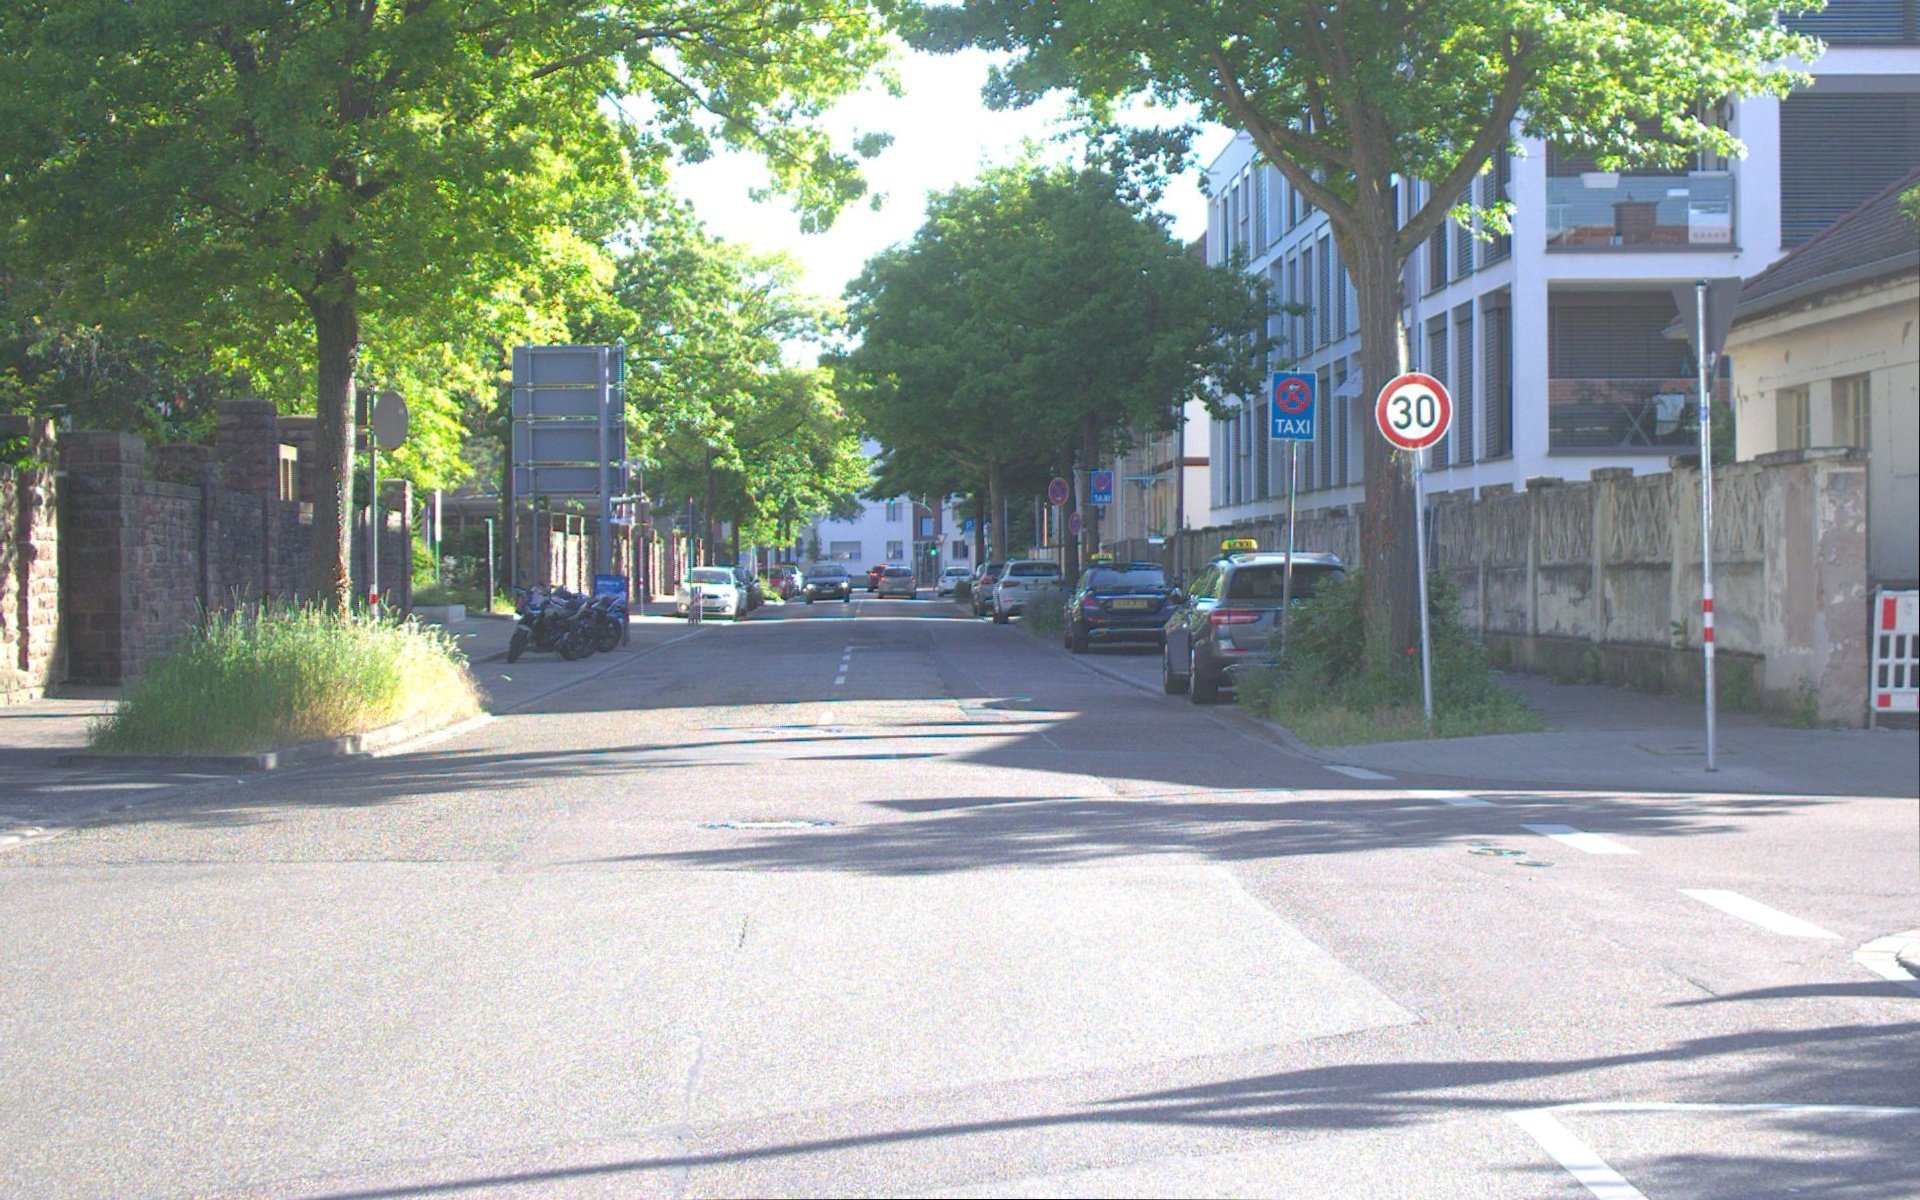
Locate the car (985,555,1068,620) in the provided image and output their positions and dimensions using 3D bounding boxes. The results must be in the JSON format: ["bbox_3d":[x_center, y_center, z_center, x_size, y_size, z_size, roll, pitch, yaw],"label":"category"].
[{"bbox_3d":[1.632,-0.336,85.163,1.950,1.573,3.836,0,1,0],"label":"car"}]

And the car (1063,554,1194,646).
[{"bbox_3d":[2.736,-0.026,56.513,1.767,1.435,4.000,-1,1,-3],"label":"car"}]

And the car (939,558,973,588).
[{"bbox_3d":[-0.199,-1.311,166.388,1.585,1.395,3.836,0,1,0],"label":"car"}]

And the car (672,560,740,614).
[{"bbox_3d":[-7.158,-0.376,97.171,1.767,1.482,4.000,-1,1,-3],"label":"car"}]

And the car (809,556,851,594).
[{"bbox_3d":[-5.309,-1.029,140.744,1.653,1.525,4.000,0,1,-1],"label":"car"}]

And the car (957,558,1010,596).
[{"bbox_3d":[0.900,-0.889,132.641,1.993,1.420,3.836,0,1,0],"label":"car"}]

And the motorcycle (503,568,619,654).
[{"bbox_3d":[-6.127,0.159,52.912,0.577,1.271,2.118,0,1,32],"label":"motorcycle"}]

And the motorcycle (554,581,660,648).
[{"bbox_3d":[-5.890,0.236,57.505,0.577,1.071,2.118,0,1,32],"label":"motorcycle"}]

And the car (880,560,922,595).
[{"bbox_3d":[-2.691,-1.033,156.552,1.767,1.543,4.066,-1,1,-3],"label":"car"}]

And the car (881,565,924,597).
[{"bbox_3d":[-2.611,-0.876,156.847,1.889,1.395,3.836,0,1,0],"label":"car"}]

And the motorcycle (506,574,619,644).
[{"bbox_3d":[-6.277,0.133,54.381,0.577,1.071,2.118,0,1,32],"label":"motorcycle"}]

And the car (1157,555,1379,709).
[{"bbox_3d":[3.072,0.276,35.148,1.703,1.463,4.789,0,1,-2],"label":"car"}]

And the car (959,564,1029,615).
[{"bbox_3d":[0.980,-0.318,100.839,1.993,1.460,3.836,0,1,0],"label":"car"}]
